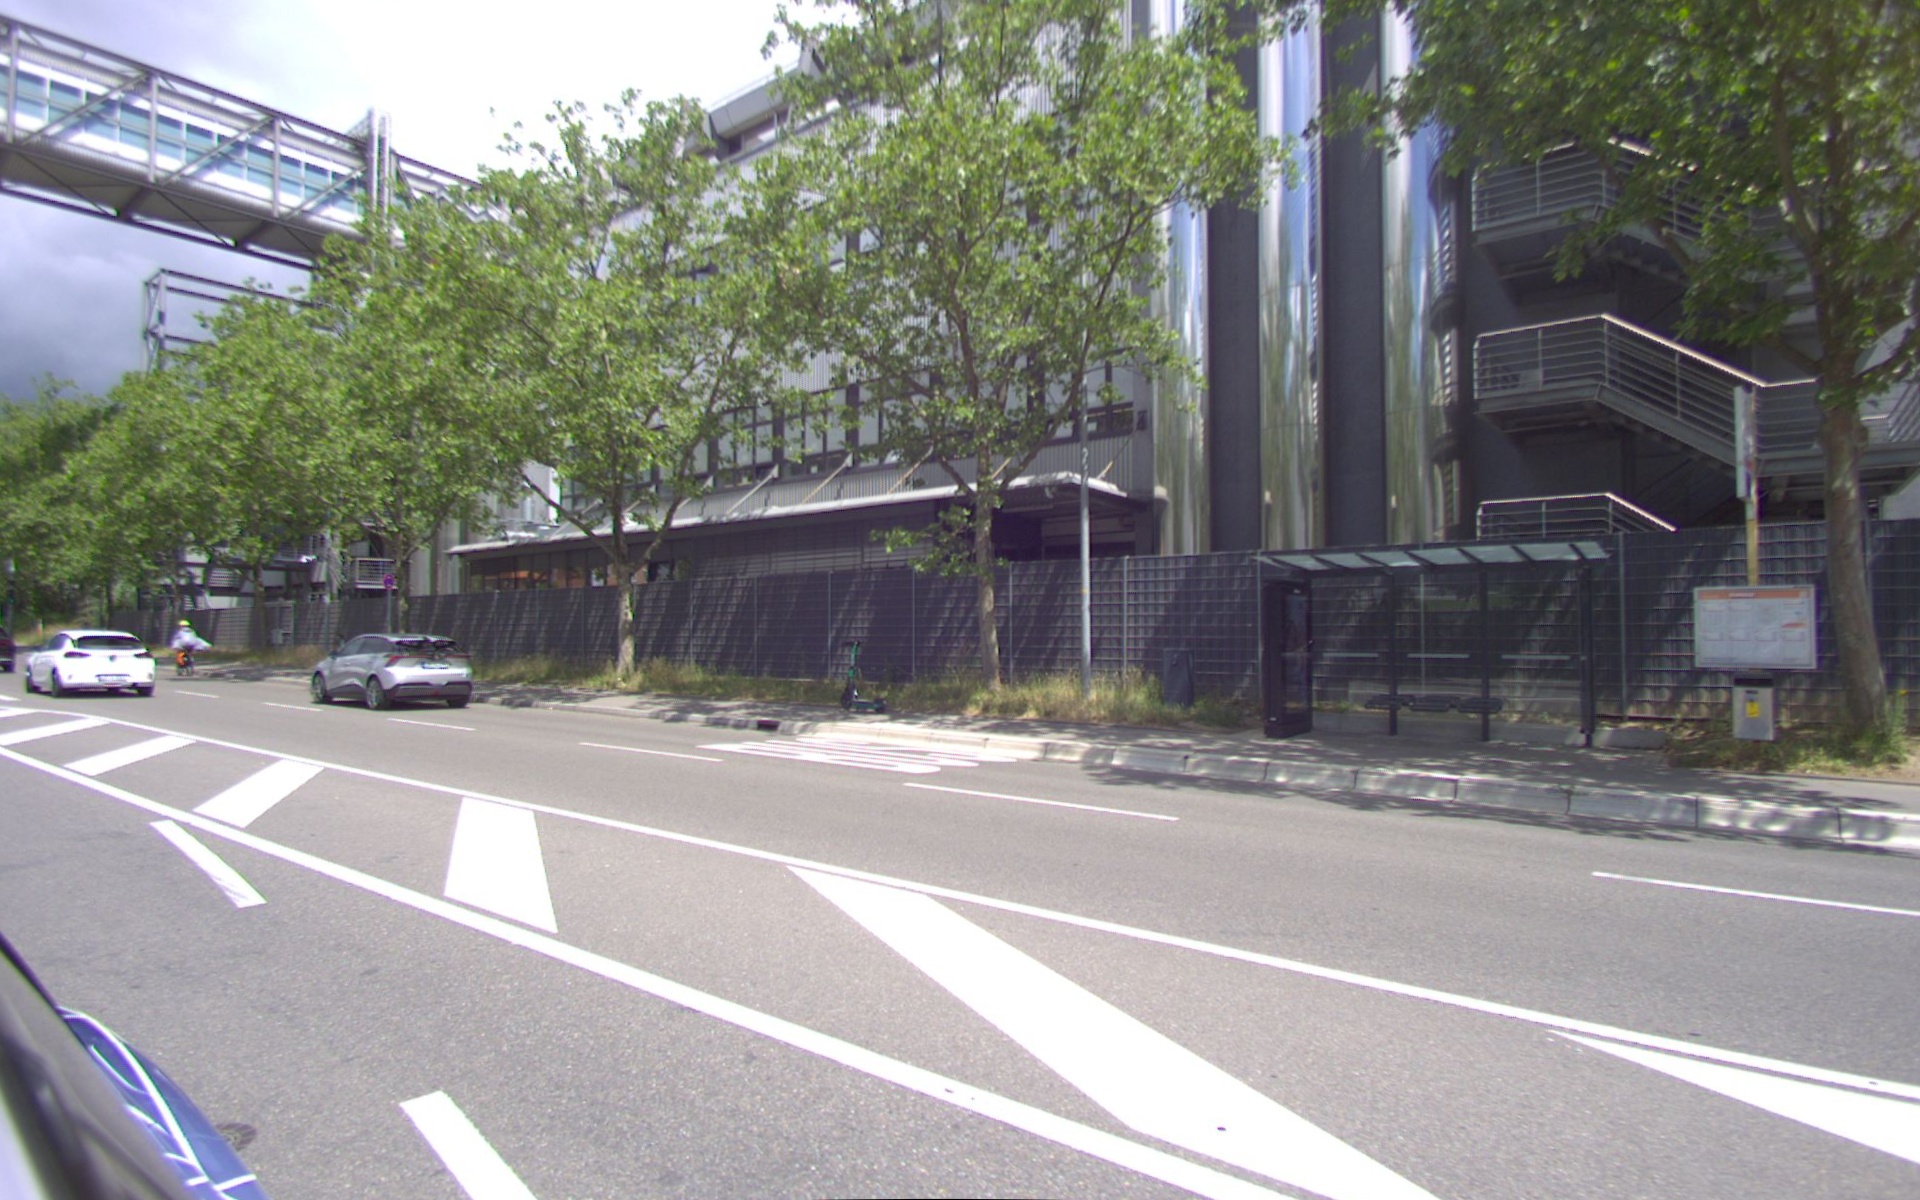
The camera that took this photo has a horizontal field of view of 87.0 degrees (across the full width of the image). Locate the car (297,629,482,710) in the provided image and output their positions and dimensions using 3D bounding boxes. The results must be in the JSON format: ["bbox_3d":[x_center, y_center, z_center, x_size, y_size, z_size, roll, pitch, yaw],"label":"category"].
[{"bbox_3d":[-11.942,1.411,21.103,4.185,1.517,1.860,-2,-4,38],"label":"car"}]

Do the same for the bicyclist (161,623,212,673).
[{"bbox_3d":[-25.375,1.571,33.208,1.220,1.610,0.947,-1,-4,35],"label":"bicyclist"}]

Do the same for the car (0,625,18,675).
[{"bbox_3d":[-32.620,1.589,33.282,4.261,1.593,1.723,-1,-4,38],"label":"car"}]

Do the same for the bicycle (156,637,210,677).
[{"bbox_3d":[-25.706,1.867,33.469,2.469,1.244,0.729,0,-3,36],"label":"bicycle"}]

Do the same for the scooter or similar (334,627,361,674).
[{"bbox_3d":[-19.088,1.558,31.514,1.233,1.414,0.300,-1,-1,38],"label":"scooter or similar"}]

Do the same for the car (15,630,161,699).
[{"bbox_3d":[-19.744,1.412,22.857,4.140,1.426,1.675,-1,-4,38],"label":"car"}]
